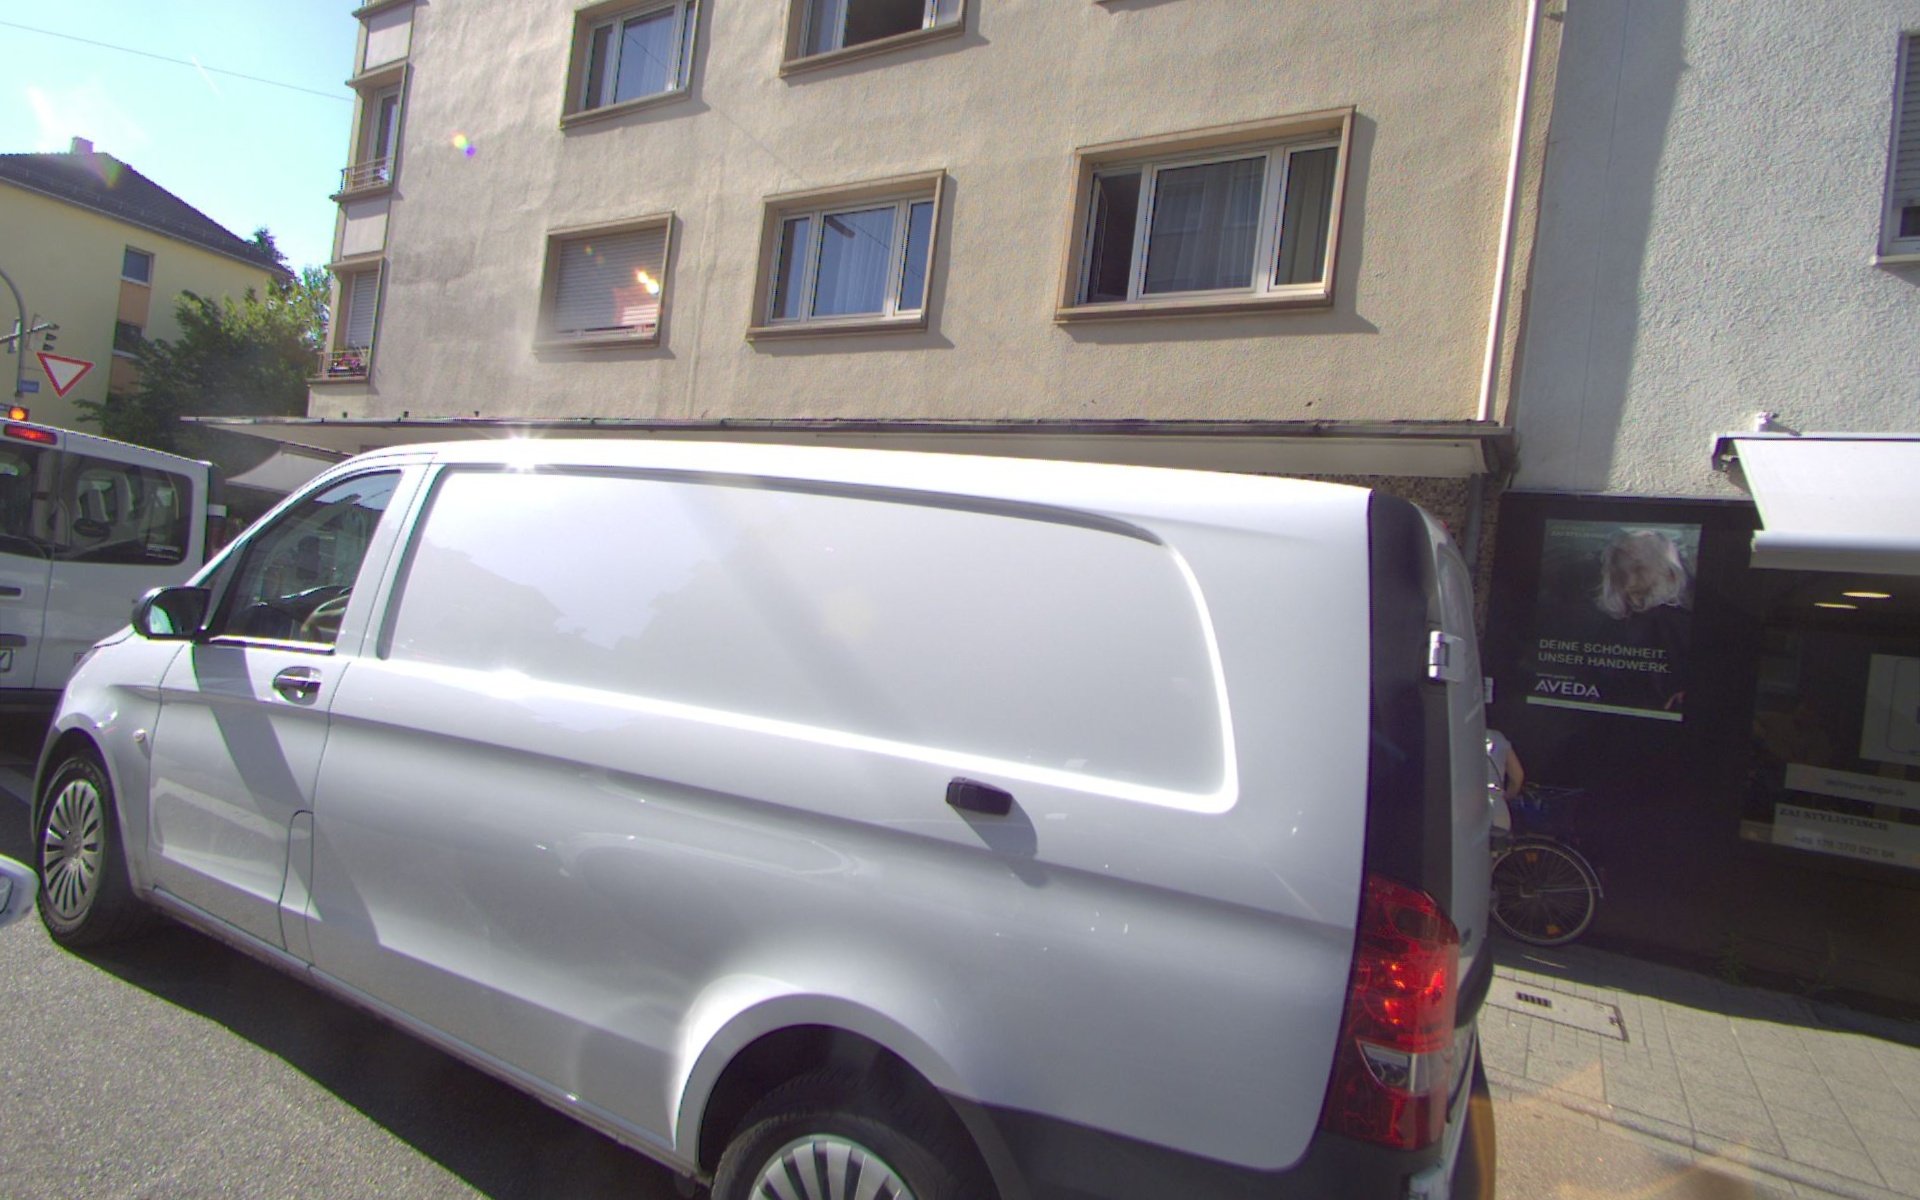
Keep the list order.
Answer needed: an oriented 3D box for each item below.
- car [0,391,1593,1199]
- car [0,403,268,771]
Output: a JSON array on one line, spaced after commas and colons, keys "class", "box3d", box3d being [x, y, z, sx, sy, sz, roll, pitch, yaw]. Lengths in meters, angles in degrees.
[{"class": "car", "box3d": [-0.995, 0.502, 3.296, 4.911, 1.891, 1.840, 7, -1, 29]}, {"class": "car", "box3d": [-7.165, -0.270, 6.954, 4.814, 2.001, 1.998, 7, -2, 32]}]
